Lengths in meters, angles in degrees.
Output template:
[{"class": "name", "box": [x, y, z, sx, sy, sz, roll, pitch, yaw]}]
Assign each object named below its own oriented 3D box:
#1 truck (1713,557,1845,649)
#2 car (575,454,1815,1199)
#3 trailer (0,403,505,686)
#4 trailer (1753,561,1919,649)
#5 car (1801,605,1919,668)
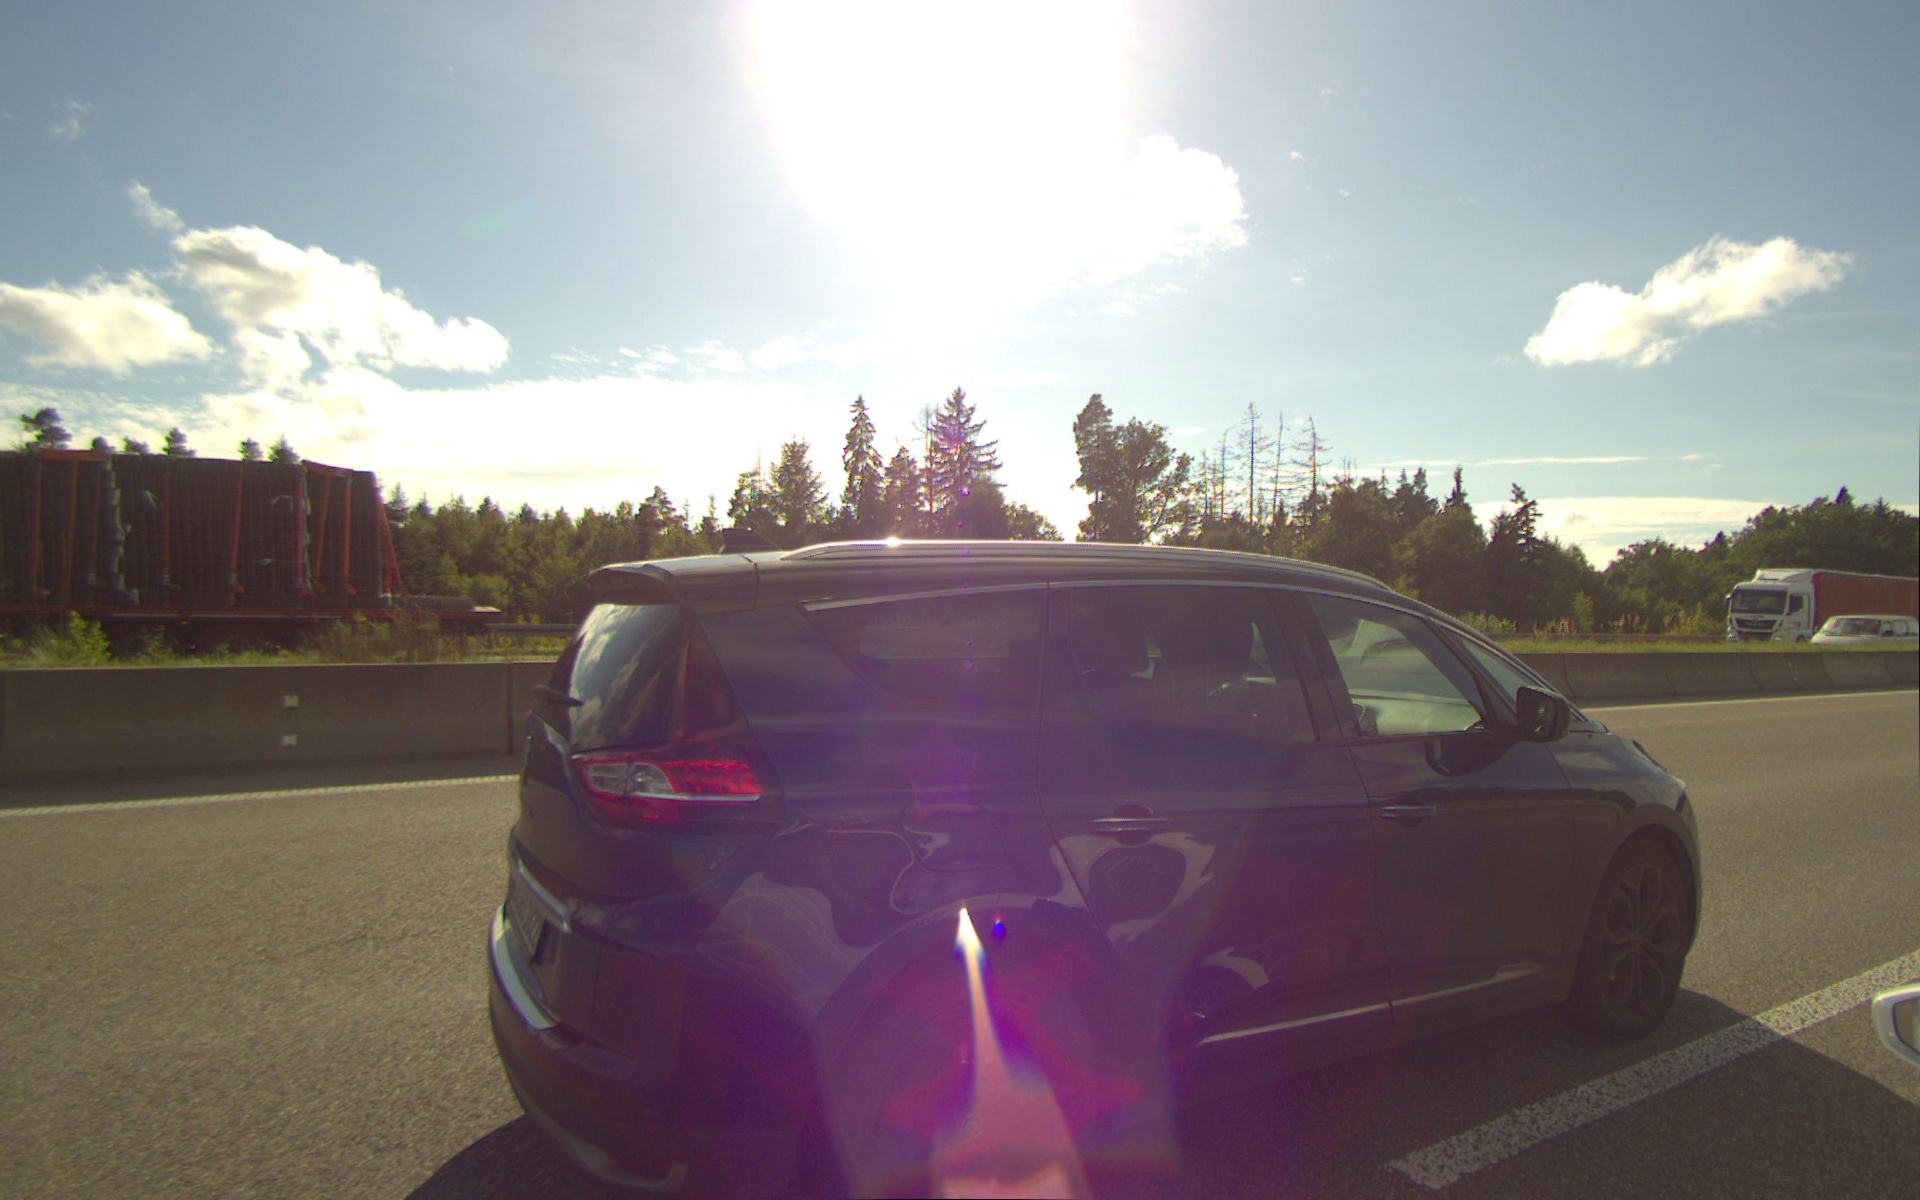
[{"class": "truck", "box": [39.324, 0.194, 48.210, 5.599, 4.163, 3.011, 1, 0, -29]}, {"class": "car", "box": [1.066, 0.631, 3.827, 4.476, 1.729, 1.984, 1, 0, -31]}, {"class": "trailer", "box": [-14.711, -0.863, 17.730, 11.911, 4.450, 2.788, 1, 0, -31]}, {"class": "trailer", "box": [45.832, 0.359, 51.854, 12.636, 4.163, 3.008, 1, 0, -29]}, {"class": "car", "box": [31.238, 1.233, 34.666, 4.300, 2.040, 1.984, 1, 0, -30]}]
